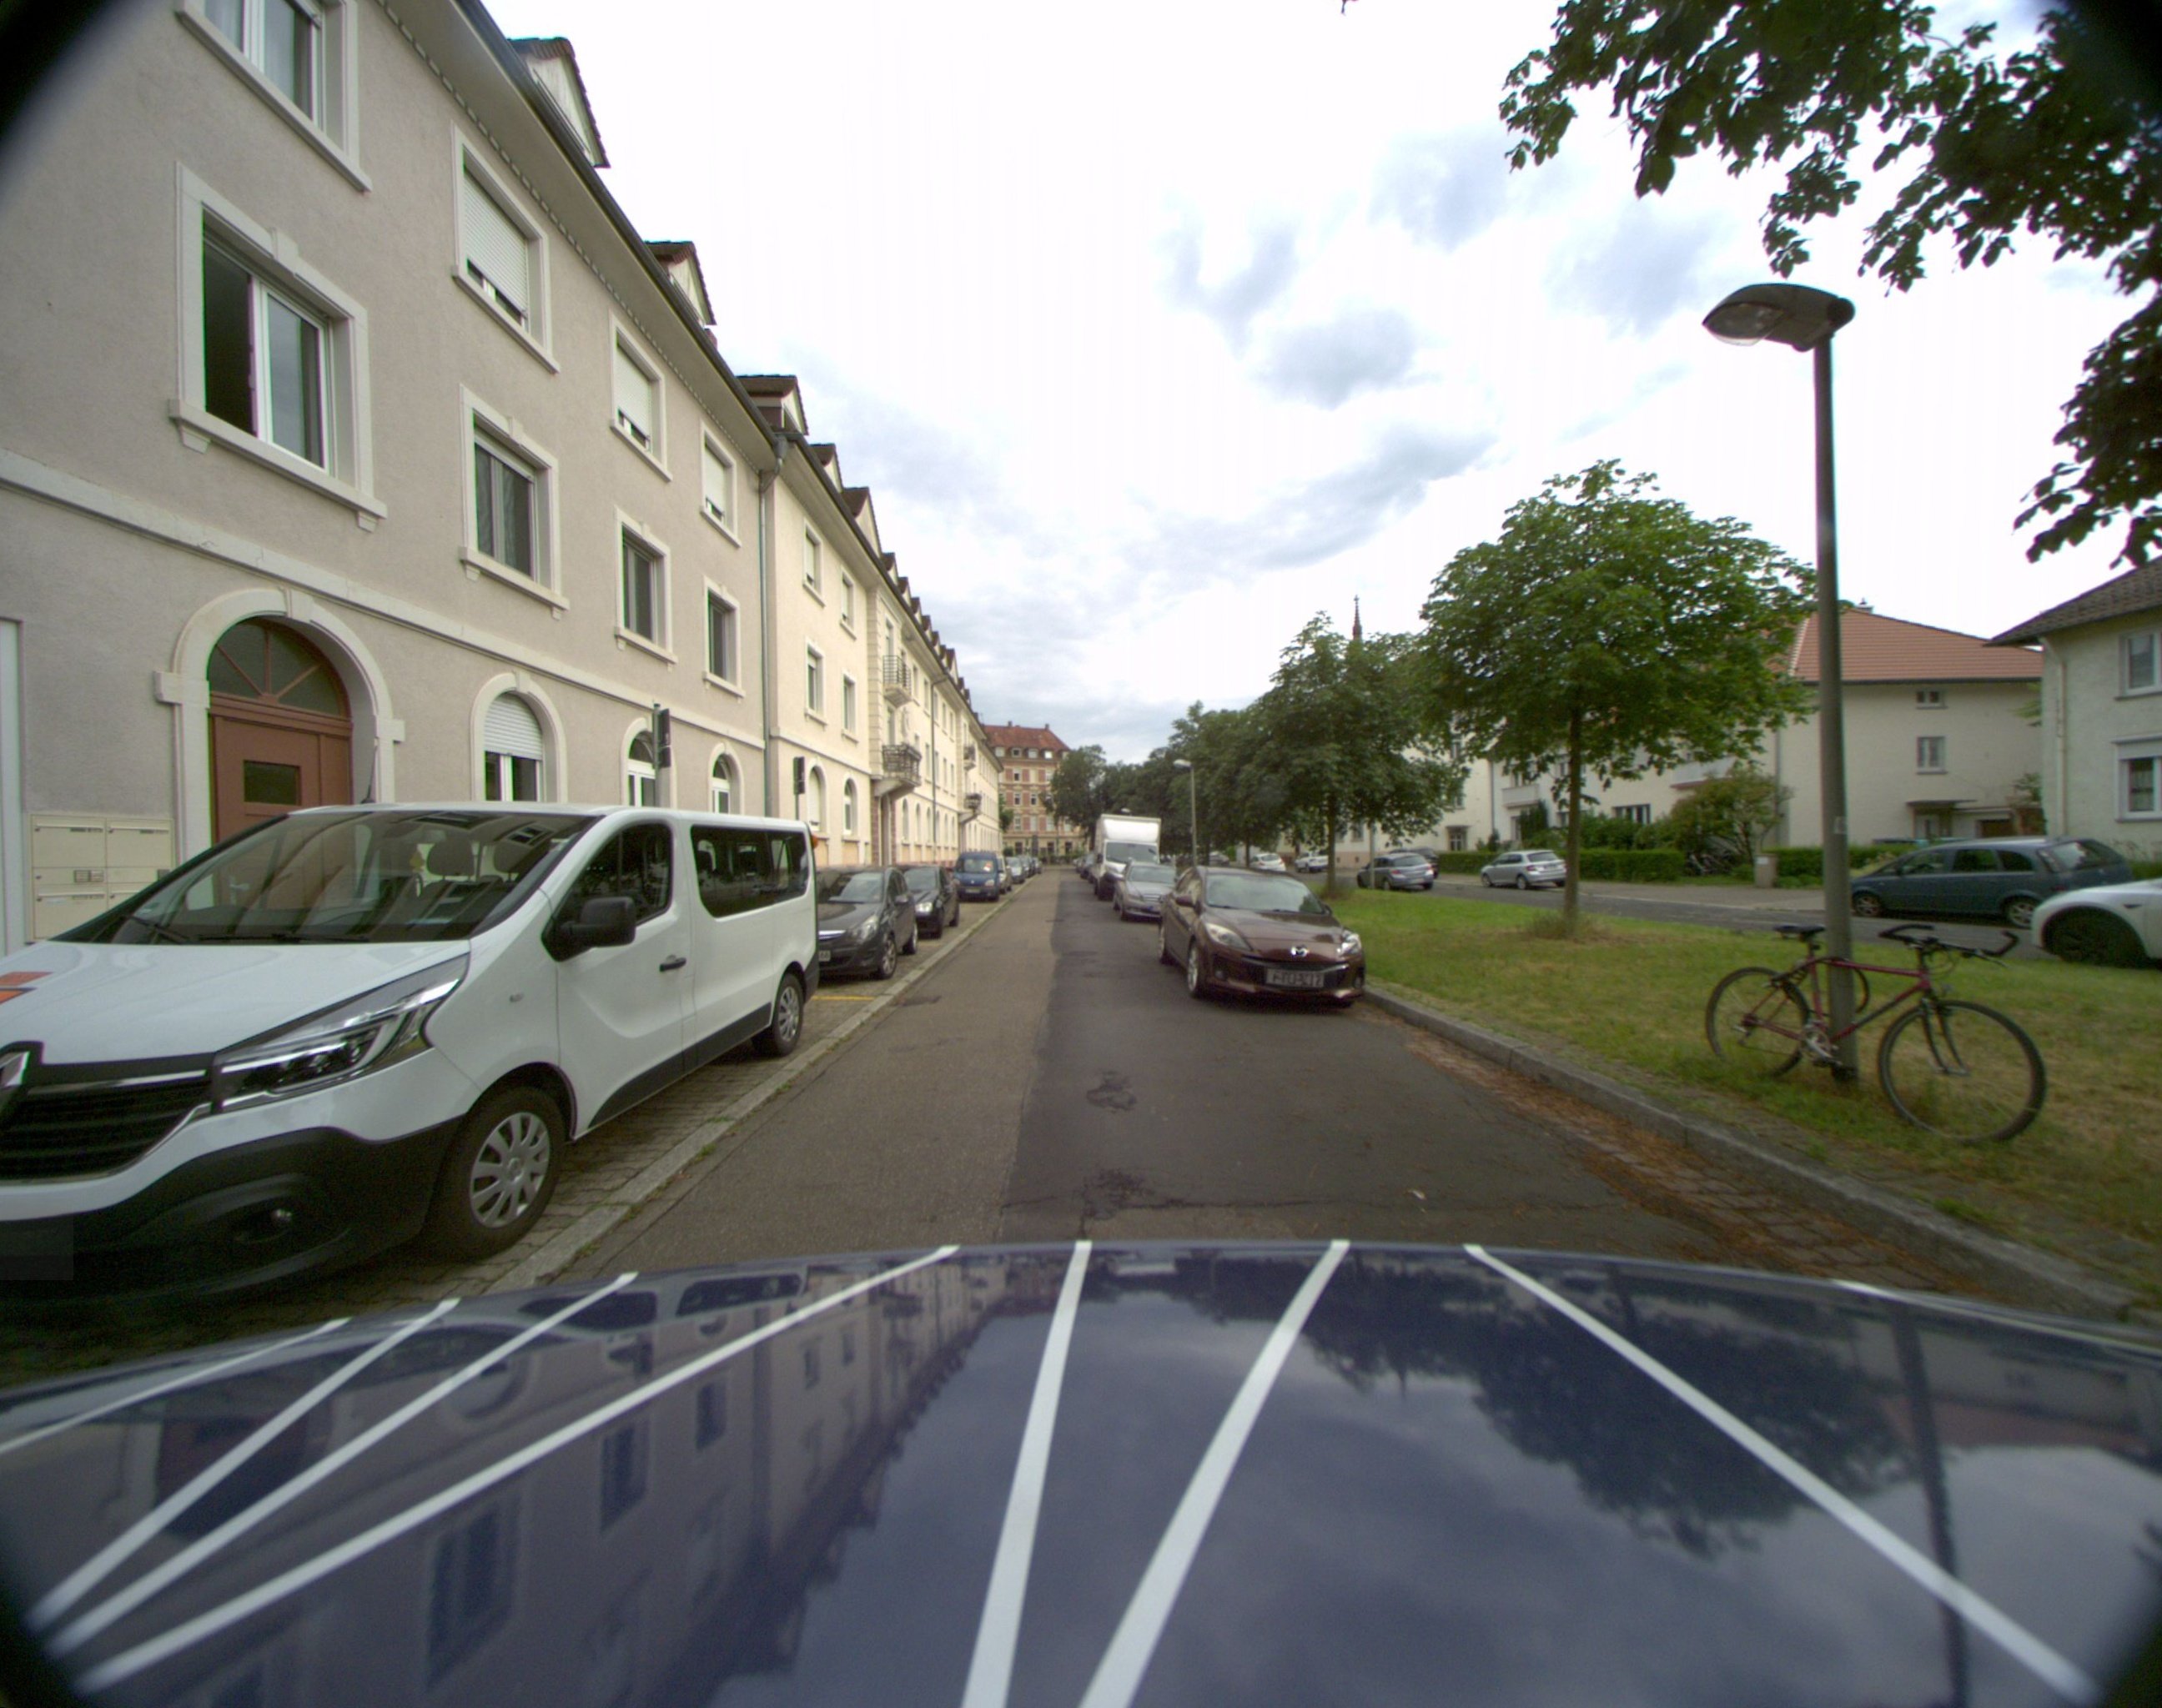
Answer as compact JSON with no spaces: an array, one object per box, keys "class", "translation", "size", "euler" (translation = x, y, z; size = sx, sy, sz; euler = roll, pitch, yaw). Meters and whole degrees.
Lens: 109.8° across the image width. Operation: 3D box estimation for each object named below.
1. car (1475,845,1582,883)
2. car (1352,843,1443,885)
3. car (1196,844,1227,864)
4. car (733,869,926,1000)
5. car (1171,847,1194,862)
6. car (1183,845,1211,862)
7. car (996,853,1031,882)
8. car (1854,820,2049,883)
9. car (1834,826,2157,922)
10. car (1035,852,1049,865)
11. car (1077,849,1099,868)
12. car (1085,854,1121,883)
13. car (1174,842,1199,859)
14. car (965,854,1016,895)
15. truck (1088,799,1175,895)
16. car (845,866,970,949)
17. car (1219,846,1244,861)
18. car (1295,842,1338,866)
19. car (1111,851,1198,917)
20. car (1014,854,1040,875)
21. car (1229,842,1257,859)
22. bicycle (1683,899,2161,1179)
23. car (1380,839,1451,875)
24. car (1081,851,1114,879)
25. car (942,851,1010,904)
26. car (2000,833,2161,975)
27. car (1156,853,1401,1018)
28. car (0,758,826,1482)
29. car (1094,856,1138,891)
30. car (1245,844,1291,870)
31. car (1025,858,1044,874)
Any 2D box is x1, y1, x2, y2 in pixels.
[{"class":"car","translation":[17.576,0.355,30.066],"size":[1.804,1.347,3.941],"euler":[-2,0,-1]},{"class":"car","translation":[12.407,0.349,30.062],"size":[1.804,1.479,4.006],"euler":[-2,0,-1]},{"class":"car","translation":[11.647,0.007,68.130],"size":[1.970,1.630,4.006],"euler":[-2,0,-1]},{"class":"car","translation":[-3.328,0.990,10.836],"size":[1.693,1.445,3.900],"euler":[1,0,-4]},{"class":"car","translation":[11.434,0.072,86.042],"size":[1.970,1.630,4.006],"euler":[-2,0,-1]},{"class":"car","translation":[11.385,-0.063,74.937],"size":[1.970,1.630,4.006],"euler":[-2,0,-1]},{"class":"car","translation":[-3.856,0.748,43.728],"size":[1.686,1.505,3.954],"euler":[2,0,-1]},{"class":"car","translation":[28.169,-0.090,24.682],"size":[3.997,1.718,2.000],"euler":[-4,0,-1]},{"class":"car","translation":[18.086,0.363,15.354],"size":[1.719,1.592,3.884],"euler":[-4,0,-2]},{"class":"car","translation":[-4.495,0.470,87.613],"size":[1.455,1.388,4.009],"euler":[2,0,-1]},{"class":"car","translation":[0.615,0.401,68.579],"size":[1.644,1.570,4.207],"euler":[-1,0,-3]},{"class":"car","translation":[1.166,0.767,41.957],"size":[1.644,1.505,4.150],"euler":[-1,0,-3]},{"class":"car","translation":[11.163,-0.373,80.602],"size":[1.970,1.630,4.006],"euler":[-2,0,-1]},{"class":"car","translation":[-3.886,0.833,33.236],"size":[1.775,1.628,4.128],"euler":[2,0,-1]},{"class":"truck","translation":[1.658,-0.213,28.223],"size":[2.444,2.940,7.111],"euler":[4,0,-1]},{"class":"car","translation":[-3.530,1.024,16.256],"size":[1.692,1.445,4.544],"euler":[1,0,-1]},{"class":"car","translation":[17.484,-0.043,88.390],"size":[1.970,1.630,4.006],"euler":[-2,0,-1]},{"class":"car","translation":[17.242,-0.017,55.764],"size":[1.804,1.598,4.006],"euler":[-2,0,-1]},{"class":"car","translation":[1.805,0.708,20.016],"size":[1.715,1.449,4.447],"euler":[3,0,-1]},{"class":"car","translation":[-3.821,0.757,54.668],"size":[1.609,1.392,4.009],"euler":[2,0,-1]},{"class":"car","translation":[17.256,-0.410,81.058],"size":[1.970,1.630,4.005],"euler":[-4,0,-1]},{"class":"bicycle","translation":[4.371,0.844,4.165],"size":[0.667,1.060,1.885],"euler":[-1,0,1]},{"class":"car","translation":[17.689,0.137,40.387],"size":[1.804,1.664,4.100],"euler":[-5,0,-1]},{"class":"car","translation":[1.039,0.694,49.346],"size":[1.785,1.697,4.314],"euler":[2,0,-3]},{"class":"car","translation":[-3.751,0.804,27.776],"size":[1.943,1.775,4.185],"euler":[1,0,-1]},{"class":"car","translation":[12.823,0.534,7.352],"size":[1.902,1.557,4.883],"euler":[-1,0,-1]},{"class":"car","translation":[2.044,0.764,9.148],"size":[1.715,1.449,4.162],"euler":[3,0,-1]},{"class":"car","translation":[-3.274,0.737,4.576],"size":[1.883,1.984,5.012],"euler":[0,0,-1]},{"class":"car","translation":[1.636,0.896,36.594],"size":[1.644,1.505,4.150],"euler":[2,0,-3]},{"class":"car","translation":[11.909,0.178,48.628],"size":[1.804,1.479,4.006],"euler":[-2,0,-1]},{"class":"car","translation":[-4.149,1.039,67.713],"size":[1.455,1.388,4.009],"euler":[2,0,-1]}]
